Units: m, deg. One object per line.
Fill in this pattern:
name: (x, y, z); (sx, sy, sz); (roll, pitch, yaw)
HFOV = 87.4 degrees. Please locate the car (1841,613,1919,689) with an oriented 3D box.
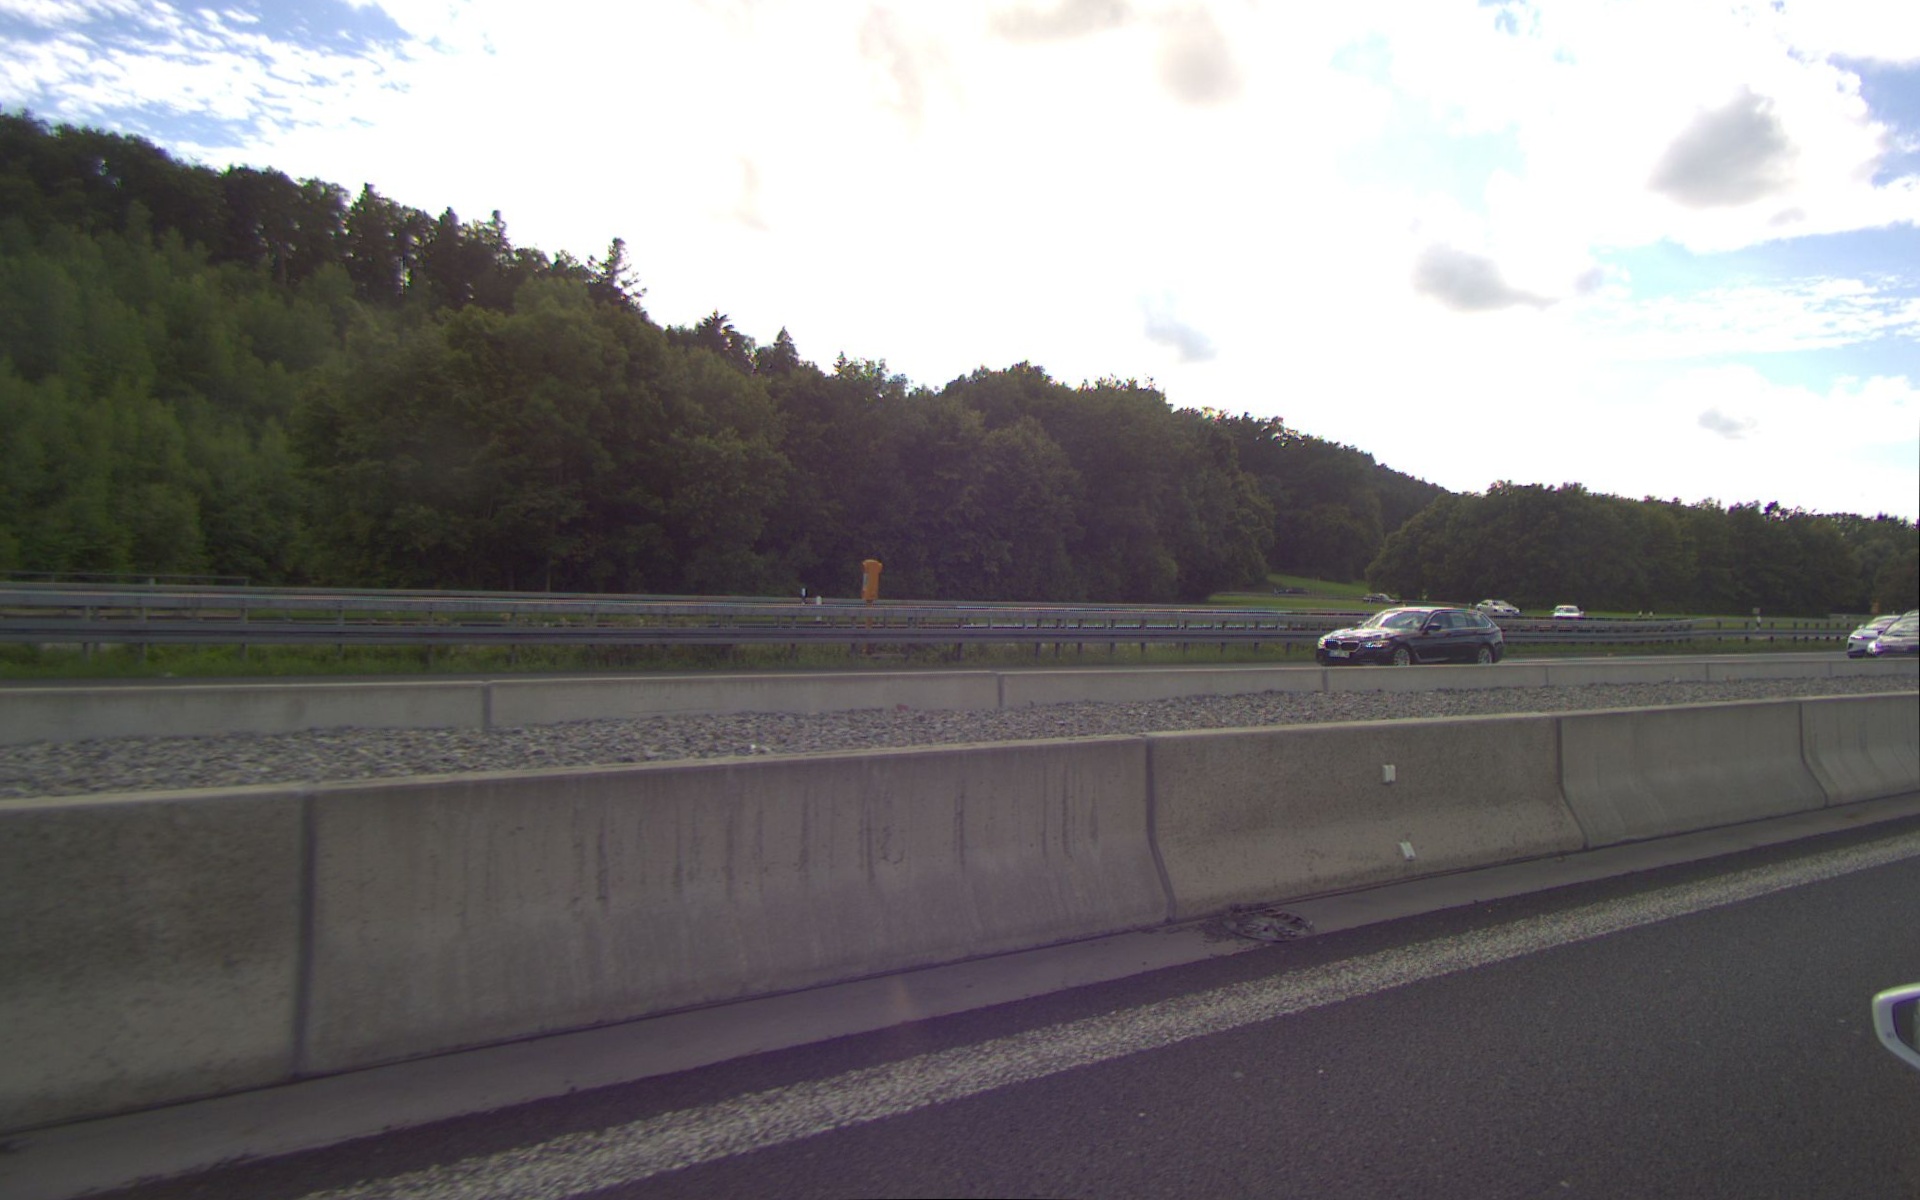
car: (24.101, 1.232, 24.871); (4.906, 1.726, 1.877); (1, 0, -29)

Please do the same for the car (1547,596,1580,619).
car: (40.798, 0.501, 67.863); (1.758, 1.450, 4.612); (2, 1, 33)

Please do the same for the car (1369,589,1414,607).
car: (46.101, -0.195, 107.543); (2.355, 1.795, 5.241); (2, 1, -3)

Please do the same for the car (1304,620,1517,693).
car: (10.121, 1.210, 22.488); (4.758, 1.421, 1.983); (1, 0, -31)

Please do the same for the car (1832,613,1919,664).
car: (32.997, 1.335, 35.531); (4.911, 1.631, 1.875); (1, 0, -32)

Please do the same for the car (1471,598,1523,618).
car: (47.858, 0.694, 89.610); (1.903, 1.694, 5.225); (1, 1, 2)
